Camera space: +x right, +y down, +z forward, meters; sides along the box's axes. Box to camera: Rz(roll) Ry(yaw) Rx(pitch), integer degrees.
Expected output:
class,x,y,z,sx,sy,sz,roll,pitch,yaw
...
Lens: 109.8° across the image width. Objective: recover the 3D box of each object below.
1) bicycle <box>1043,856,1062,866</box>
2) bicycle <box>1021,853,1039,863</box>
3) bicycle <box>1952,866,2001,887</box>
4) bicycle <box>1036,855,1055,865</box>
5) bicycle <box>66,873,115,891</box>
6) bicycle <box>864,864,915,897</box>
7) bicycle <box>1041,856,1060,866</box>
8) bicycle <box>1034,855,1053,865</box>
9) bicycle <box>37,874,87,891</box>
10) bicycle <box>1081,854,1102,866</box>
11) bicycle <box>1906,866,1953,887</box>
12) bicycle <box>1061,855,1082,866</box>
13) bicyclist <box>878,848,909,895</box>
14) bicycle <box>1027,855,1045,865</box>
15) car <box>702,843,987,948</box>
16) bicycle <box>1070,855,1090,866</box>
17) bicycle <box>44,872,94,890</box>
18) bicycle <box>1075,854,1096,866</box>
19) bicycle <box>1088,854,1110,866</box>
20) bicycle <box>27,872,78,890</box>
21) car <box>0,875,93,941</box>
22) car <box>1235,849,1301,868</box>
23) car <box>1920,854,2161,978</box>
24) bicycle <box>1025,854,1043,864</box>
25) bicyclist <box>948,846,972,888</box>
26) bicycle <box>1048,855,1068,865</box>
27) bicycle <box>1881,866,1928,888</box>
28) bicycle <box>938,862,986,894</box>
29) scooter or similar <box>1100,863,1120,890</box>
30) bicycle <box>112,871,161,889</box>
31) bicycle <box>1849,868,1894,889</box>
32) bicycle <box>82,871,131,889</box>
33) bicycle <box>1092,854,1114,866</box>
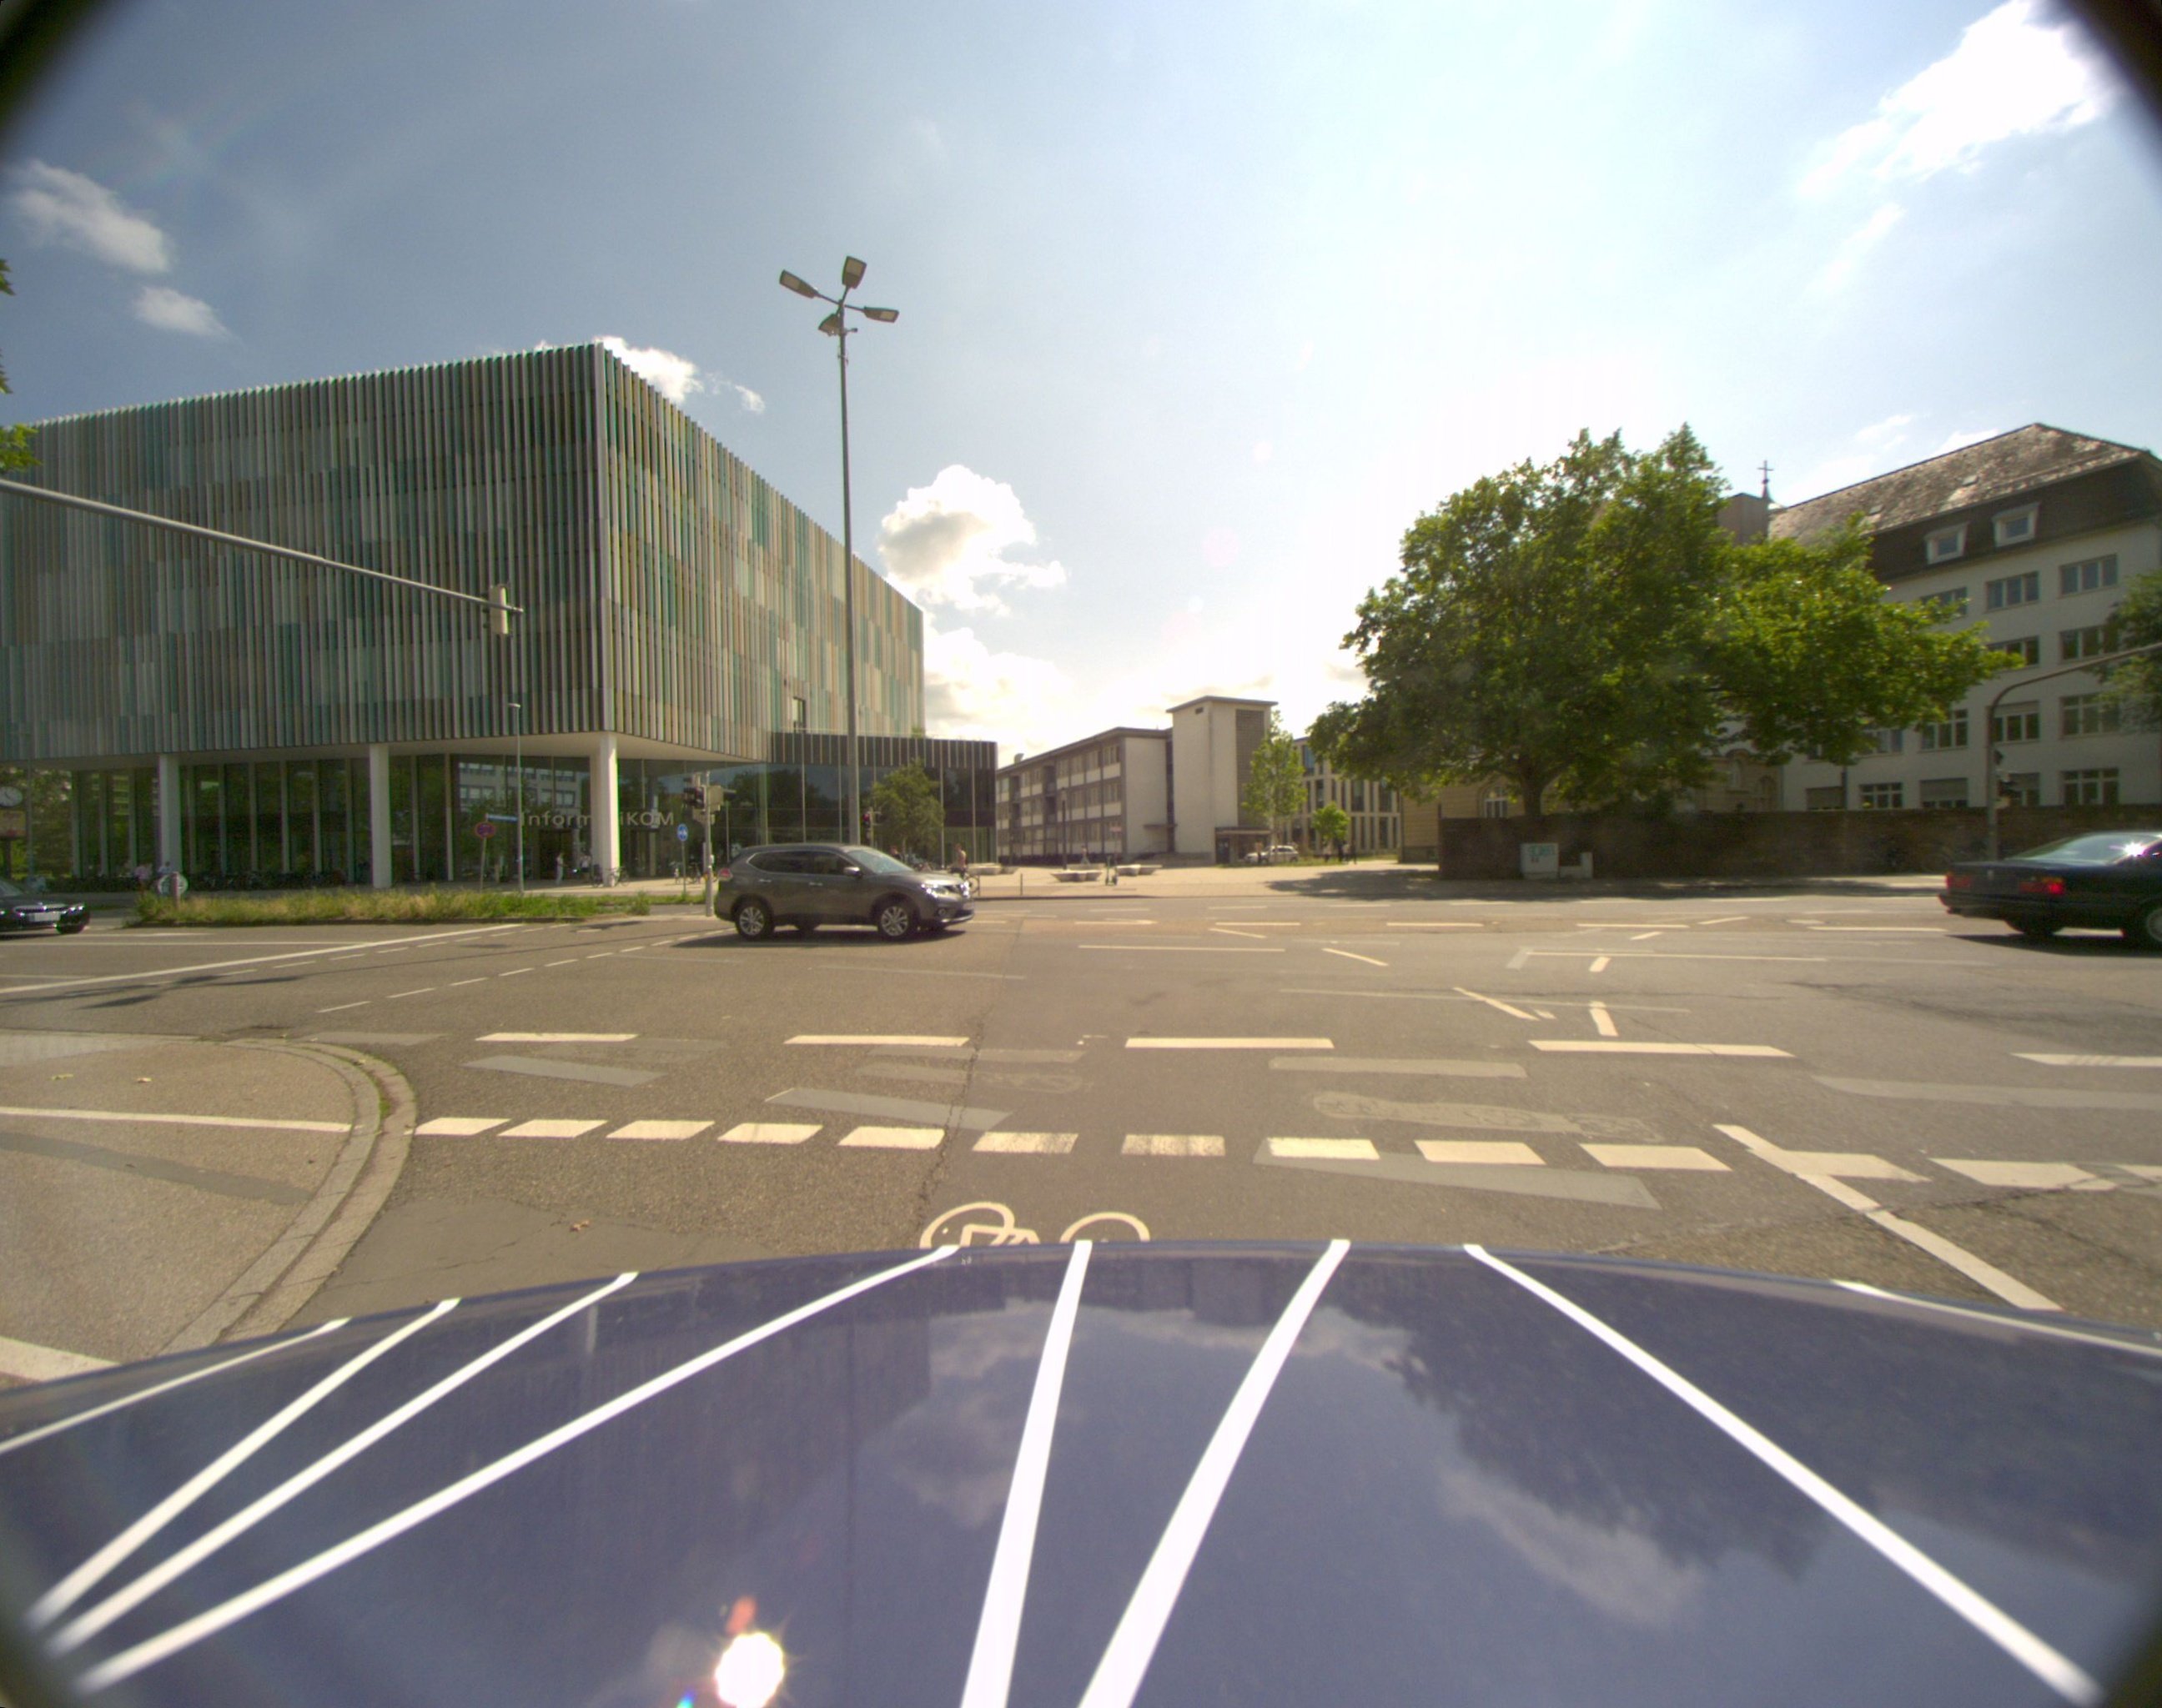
class,x,y,z,sx,sy,sz,roll,pitch,yaw
bicycle,-2.736,0.646,72.559,1.775,0.950,0.528,0,2,-19
bicycle,-5.314,0.409,78.866,1.775,0.950,0.528,-1,3,-19
bicycle,30.868,0.769,26.209,0.409,0.678,1.006,-1,2,-16
bicycle,-3.517,0.631,74.850,1.775,0.950,0.528,-1,3,-19
bicycle,-59.720,1.657,45.831,0.432,0.950,1.786,-1,2,9
bicycle,-6.838,0.939,27.105,1.672,1.118,0.694,-1,1,-19
bicycle,-2.964,0.637,73.423,1.775,0.950,0.528,-1,3,-19
bicycle,-3.743,0.608,75.466,1.775,0.950,0.528,-1,3,-19
bicycle,-62.004,1.725,46.247,0.432,0.950,1.786,-1,2,9
bicycle,0.888,0.519,65.953,1.775,0.950,0.528,-1,3,-19
bicycle,29.491,0.779,26.421,0.409,0.678,1.006,-1,2,-16
bicycle,-0.870,0.564,69.124,1.775,0.950,0.528,-1,3,-19
bicyclist,-6.707,0.613,27.149,1.000,1.606,0.656,-1,1,-19
bicycle,-4.564,0.574,77.102,1.775,0.950,0.528,-1,3,-19
car,-4.110,0.678,13.468,4.470,1.669,1.827,-1,1,12
bicycle,-0.101,0.617,68.160,1.775,0.950,0.528,-1,3,-19
bicycle,-61.180,1.615,45.964,0.432,0.950,1.786,-1,2,9
bicycle,0.397,0.524,67.175,1.775,0.950,0.528,-1,3,-19
bicycle,1.542,0.504,64.806,1.775,0.950,0.528,-1,3,-19
bicycle,-62.703,1.633,46.342,0.432,0.950,1.786,-1,2,9
car,-25.621,1.230,17.704,4.182,1.408,1.833,-1,1,18
car,13.966,0.318,56.888,4.499,1.299,1.996,-2,2,-22
car,13.721,0.709,9.195,4.605,1.378,1.699,-1,1,14
bicycle,-4.848,0.500,77.697,1.775,0.950,0.528,-1,3,-19
bicyclist,-4.451,0.467,27.992,0.786,1.529,0.656,-1,1,-15
bicycle,-2.135,0.564,71.389,1.775,0.950,0.528,-1,3,-19
bicycle,28.604,0.790,26.408,0.409,0.678,1.006,-1,2,-16
bicycle,-4.387,0.886,28.018,1.672,1.118,0.694,-1,1,-15
scooter or similar,1.172,0.895,30.771,0.403,1.060,1.149,-1,1,-18
bicycle,-56.342,1.547,45.338,0.432,0.950,1.786,-1,2,9
bicycle,27.437,0.837,26.389,0.409,0.678,1.006,-1,2,-16
bicycle,-58.747,1.568,45.816,0.432,0.950,1.786,-1,2,9
bicycle,1.881,0.483,63.879,1.775,0.950,0.528,-1,3,-19
